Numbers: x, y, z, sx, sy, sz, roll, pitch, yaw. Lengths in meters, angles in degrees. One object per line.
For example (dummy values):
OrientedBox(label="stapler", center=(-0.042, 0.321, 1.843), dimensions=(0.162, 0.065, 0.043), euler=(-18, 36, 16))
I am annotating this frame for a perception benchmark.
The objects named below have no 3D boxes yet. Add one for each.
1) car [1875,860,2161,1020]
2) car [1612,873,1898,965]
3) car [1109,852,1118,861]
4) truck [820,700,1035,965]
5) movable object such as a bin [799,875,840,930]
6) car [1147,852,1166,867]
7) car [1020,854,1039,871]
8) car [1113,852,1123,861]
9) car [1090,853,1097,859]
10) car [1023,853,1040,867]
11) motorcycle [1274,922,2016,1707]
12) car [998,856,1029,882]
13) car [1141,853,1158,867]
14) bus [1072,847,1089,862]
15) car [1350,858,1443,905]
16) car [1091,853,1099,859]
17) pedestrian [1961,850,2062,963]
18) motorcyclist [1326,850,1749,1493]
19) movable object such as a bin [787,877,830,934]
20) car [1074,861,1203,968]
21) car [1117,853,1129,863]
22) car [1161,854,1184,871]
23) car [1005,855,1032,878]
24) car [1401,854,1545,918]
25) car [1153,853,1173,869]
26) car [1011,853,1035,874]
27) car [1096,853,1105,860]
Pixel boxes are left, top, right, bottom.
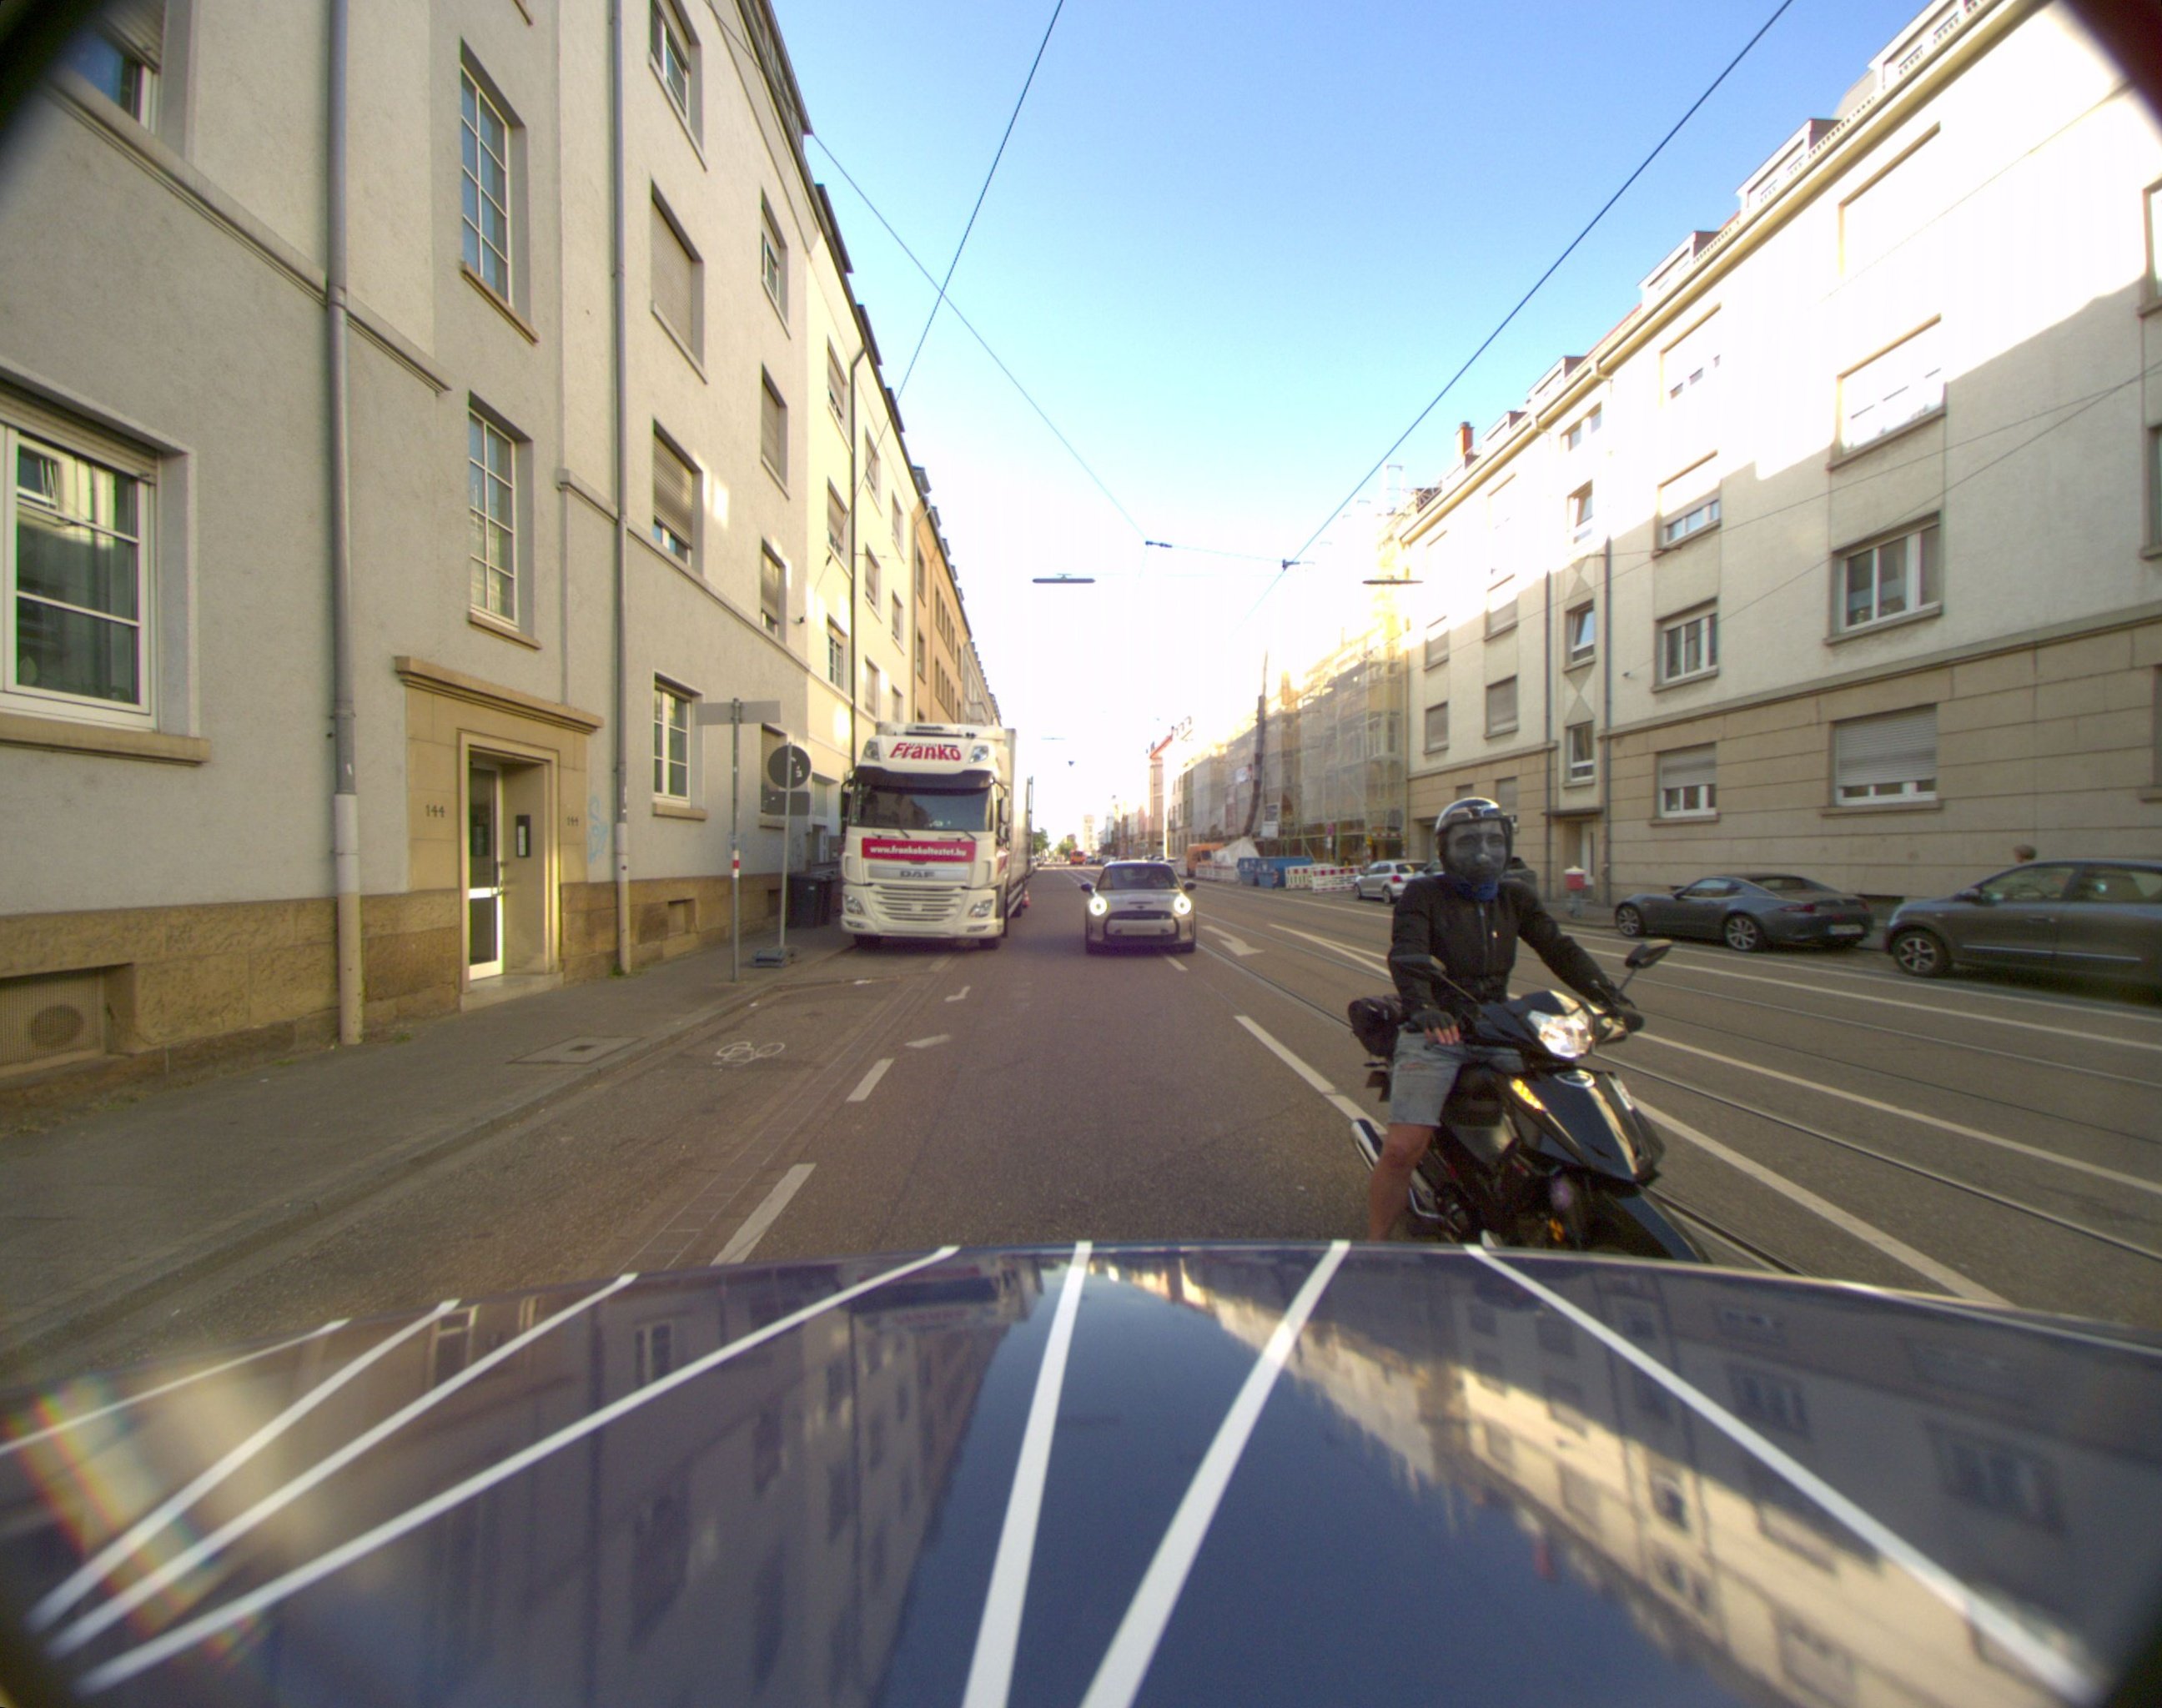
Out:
OrientedBox(label="car", center=(11.415, 0.858, 8.317), dimensions=(1.679, 1.519, 3.539), euler=(-1, 0, -3))
OrientedBox(label="car", center=(11.178, 0.998, 12.979), dimensions=(1.520, 1.227, 3.685), euler=(-1, 0, -3))
OrientedBox(label="car", center=(5.952, 0.437, 139.341), dimensions=(1.684, 1.478, 3.966), euler=(-2, 0, 1))
OrientedBox(label="truck", center=(-2.628, -0.324, 17.177), dimensions=(2.782, 3.903, 11.816), euler=(0, 0, -2))
OrientedBox(label="movable object such as a bin", center=(-5.402, 0.996, 15.706), dimensions=(0.666, 1.087, 0.570), euler=(0, 1, -2))
OrientedBox(label="car", center=(8.241, 0.611, 83.181), dimensions=(1.684, 1.573, 3.966), euler=(-2, 0, 1))
OrientedBox(label="car", center=(-4.860, 0.744, 72.095), dimensions=(1.685, 1.522, 4.148), euler=(-2, 0, -3))
OrientedBox(label="car", center=(6.525, 0.458, 134.398), dimensions=(1.684, 1.478, 3.966), euler=(-2, 0, 1))
OrientedBox(label="car", center=(3.302, 0.579, 206.887), dimensions=(1.684, 1.478, 3.965), euler=(-2, 0, -1))
OrientedBox(label="car", center=(-5.355, 0.644, 82.741), dimensions=(1.685, 1.522, 4.148), euler=(-2, 0, -3))
OrientedBox(label="motorcycle", center=(1.308, 0.971, 2.517), dimensions=(0.791, 1.284, 2.273), euler=(0, 0, 1))
OrientedBox(label="car", center=(-4.179, 0.893, 47.184), dimensions=(1.685, 1.522, 4.148), euler=(-2, 0, -3))
OrientedBox(label="car", center=(7.929, 0.648, 87.877), dimensions=(1.684, 1.478, 3.966), euler=(-2, 0, 1))
OrientedBox(label="bus", center=(-0.225, 0.086, 172.888), dimensions=(2.755, 3.095, 19.156), euler=(0, 0, -3))
OrientedBox(label="car", center=(10.607, 0.878, 25.776), dimensions=(1.543, 1.404, 3.510), euler=(-1, 0, -3))
OrientedBox(label="car", center=(3.528, 0.600, 191.743), dimensions=(1.684, 1.478, 3.965), euler=(-2, 0, -1))
OrientedBox(label="pedestrian", center=(13.103, 0.718, 10.719), dimensions=(0.570, 1.532, 0.693), euler=(0, 1, -2))
OrientedBox(label="motorcyclist", center=(1.307, 0.814, 2.388), dimensions=(0.791, 1.645, 0.900), euler=(0, 1, 1))
OrientedBox(label="movable object such as a bin", center=(-5.385, 1.004, 15.037), dimensions=(0.666, 1.087, 0.570), euler=(0, 1, -2))
OrientedBox(label="car", center=(0.809, 0.883, 13.004), dimensions=(1.685, 1.454, 4.148), euler=(-2, 0, -3))
OrientedBox(label="car", center=(6.593, 0.617, 118.632), dimensions=(1.684, 1.478, 3.966), euler=(-2, 0, 1))
OrientedBox(label="car", center=(8.568, 0.756, 71.110), dimensions=(1.684, 1.478, 3.966), euler=(-2, 0, 1))
OrientedBox(label="car", center=(-4.306, 0.825, 52.987), dimensions=(1.685, 1.522, 4.148), euler=(-2, 0, -3))
OrientedBox(label="car", center=(10.809, 0.803, 21.328), dimensions=(1.696, 1.590, 4.206), euler=(-1, 0, -3))
OrientedBox(label="car", center=(8.262, 0.701, 76.807), dimensions=(1.684, 1.478, 3.966), euler=(-2, 0, 1))
OrientedBox(label="car", center=(-4.514, 0.742, 59.155), dimensions=(1.685, 1.522, 4.148), euler=(-2, 0, -3))
OrientedBox(label="car", center=(4.251, 0.609, 167.809), dimensions=(1.684, 1.478, 3.965), euler=(-2, 0, -1))
